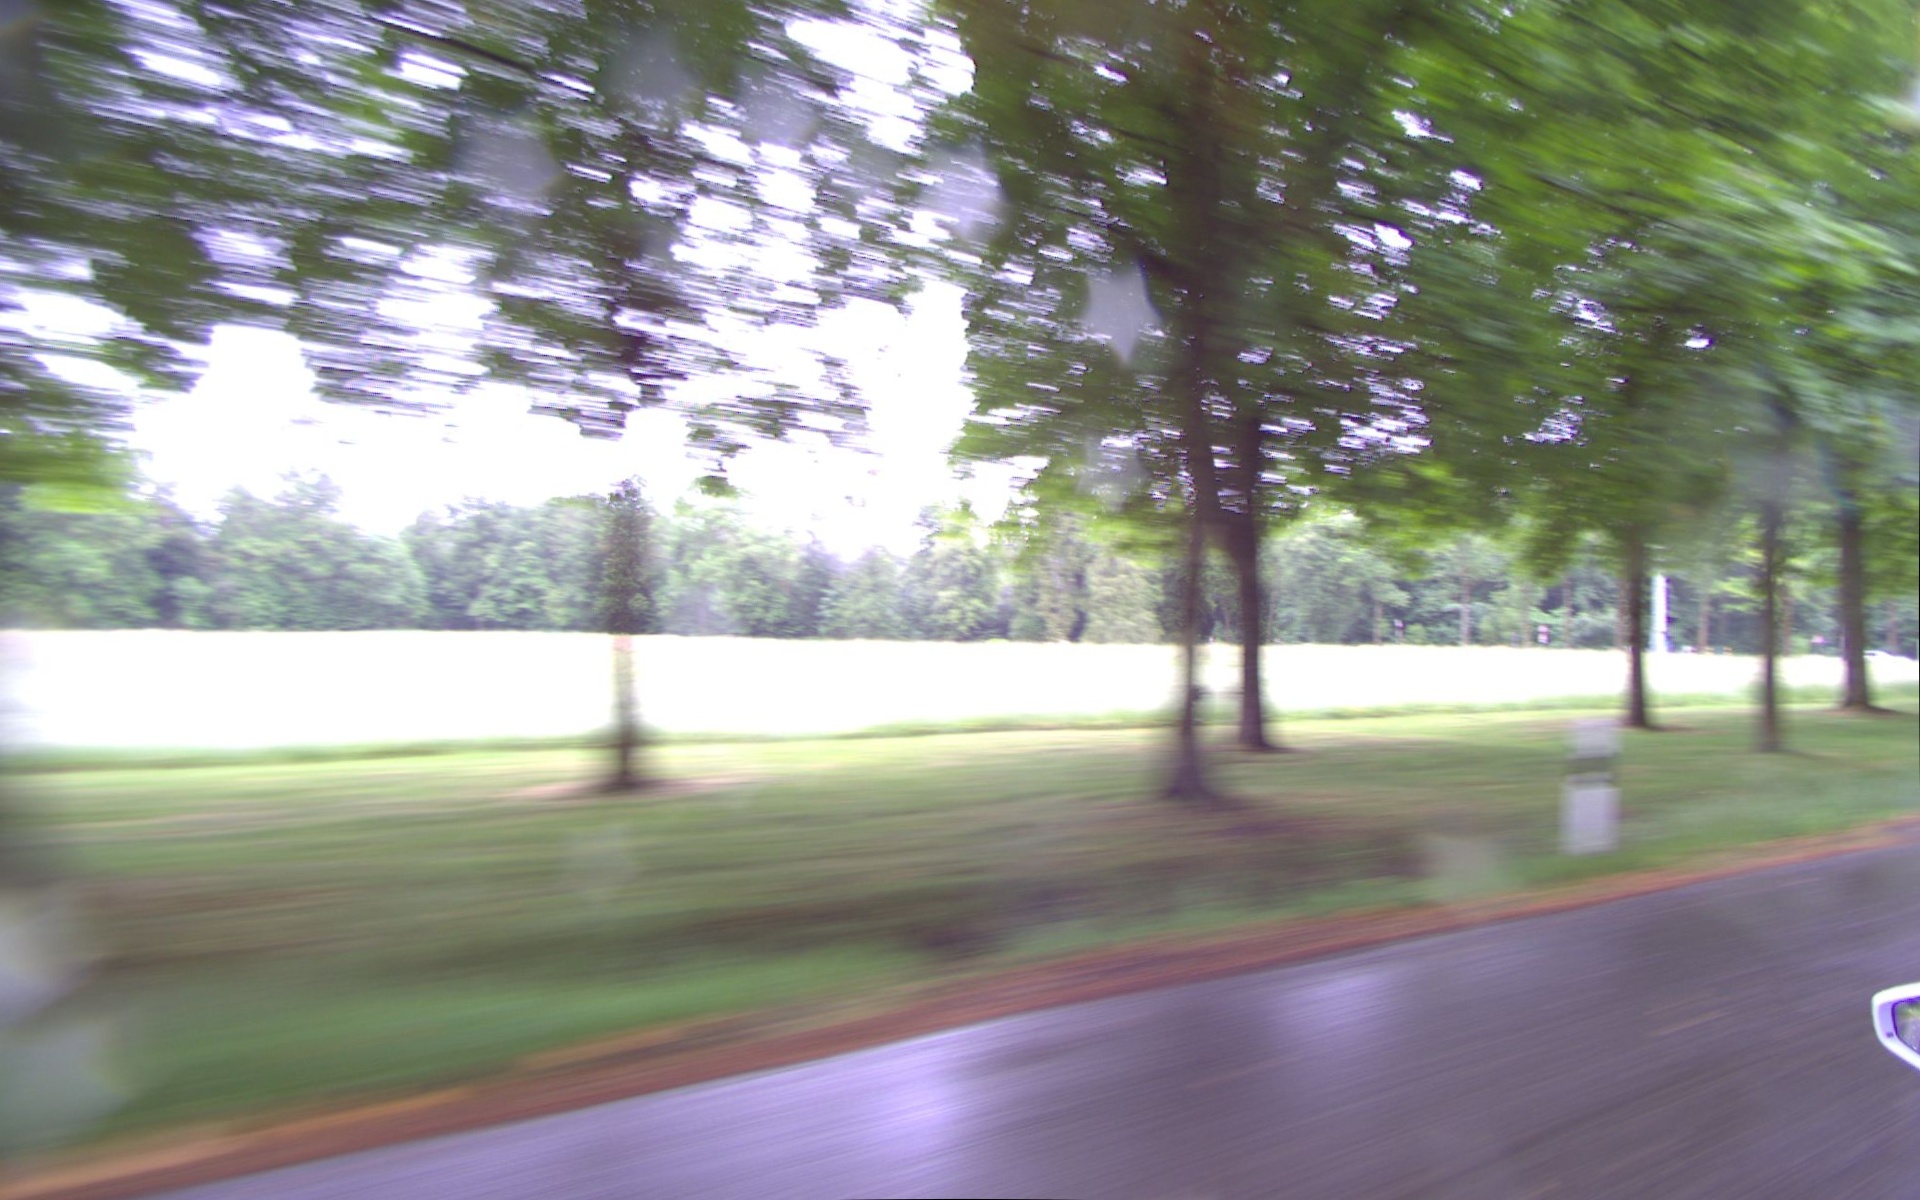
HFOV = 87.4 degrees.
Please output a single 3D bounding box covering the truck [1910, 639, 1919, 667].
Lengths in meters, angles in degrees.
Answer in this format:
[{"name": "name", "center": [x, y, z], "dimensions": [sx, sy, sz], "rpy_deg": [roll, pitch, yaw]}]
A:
[{"name": "truck", "center": [87.688, 4.819, 91.160], "dimensions": [3.324, 2.474, 1.853], "rpy_deg": [3, -3, -42]}]
